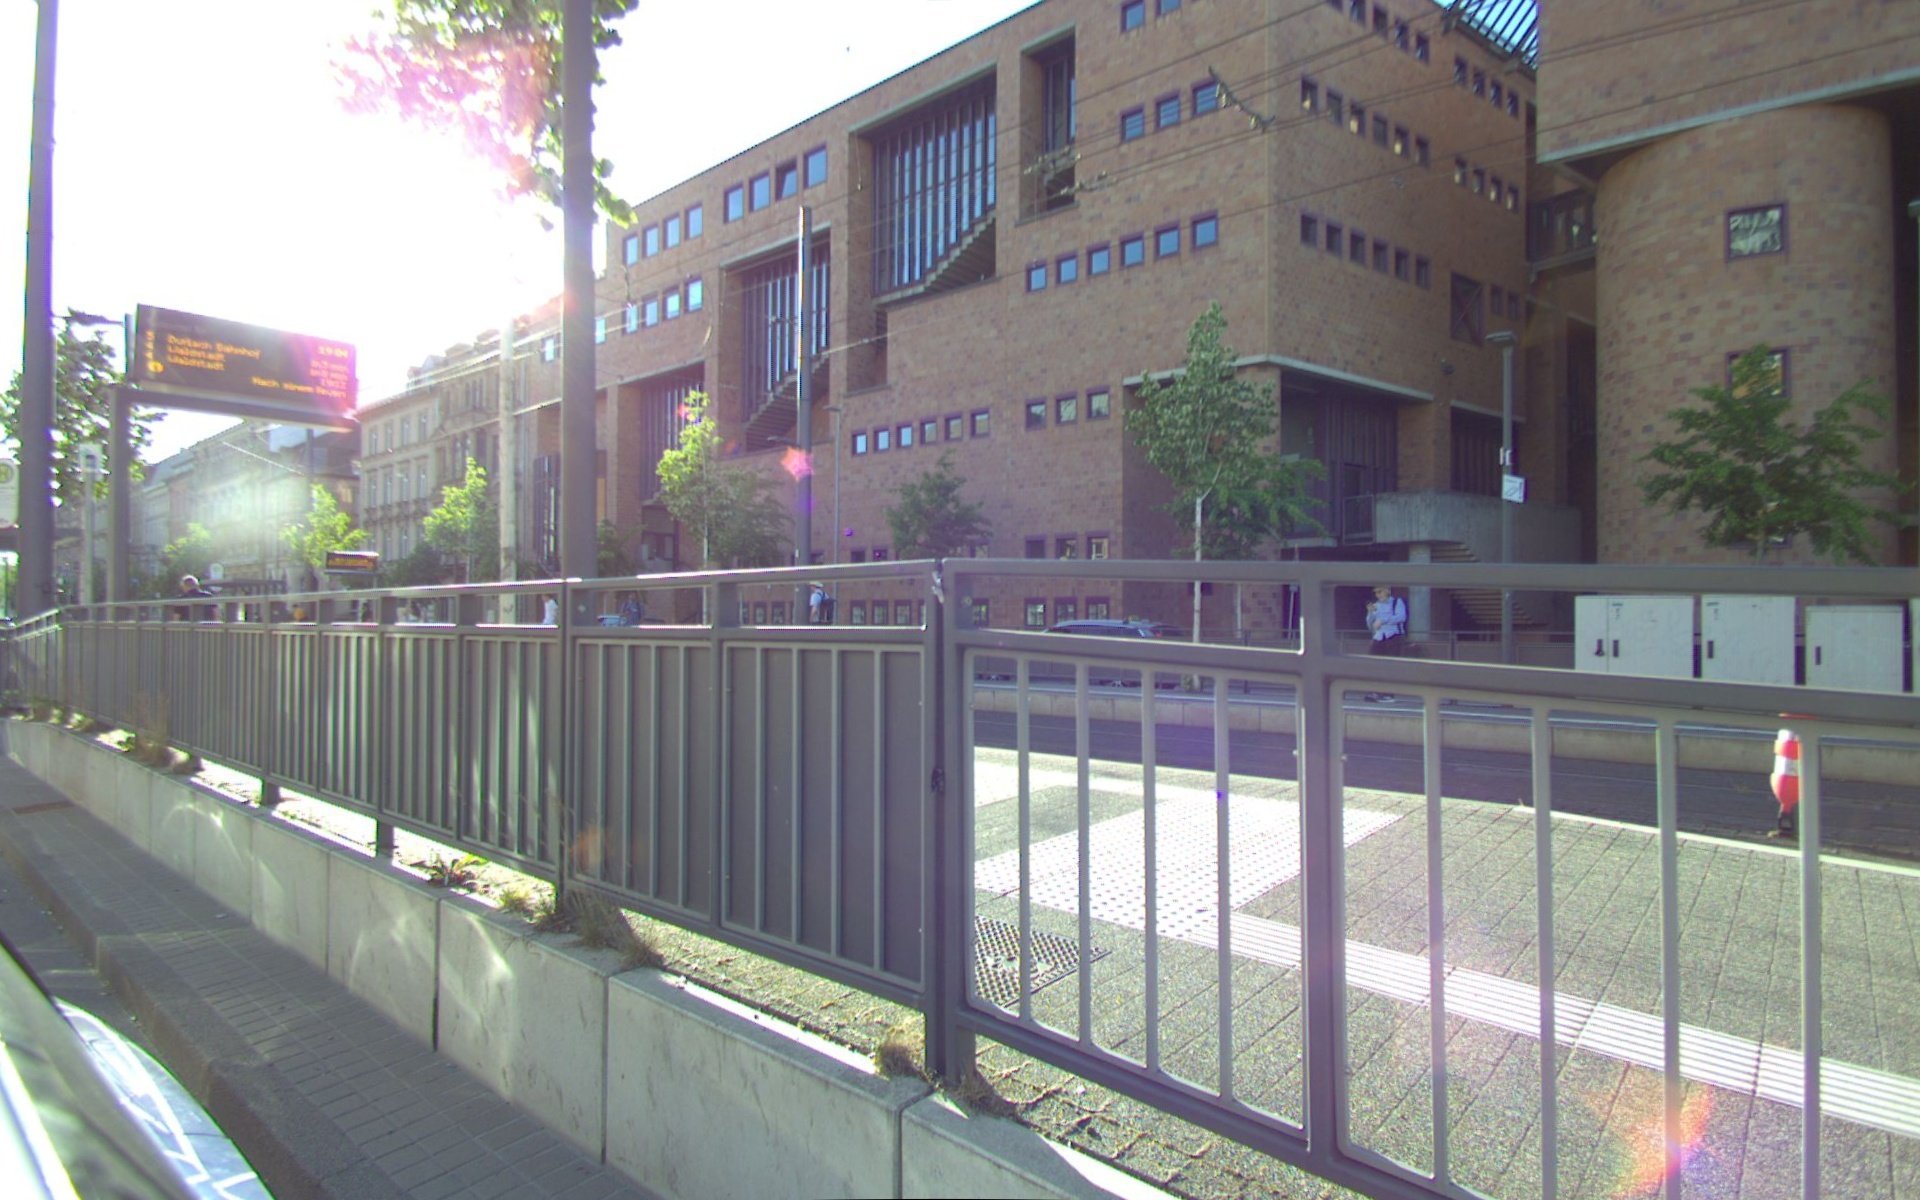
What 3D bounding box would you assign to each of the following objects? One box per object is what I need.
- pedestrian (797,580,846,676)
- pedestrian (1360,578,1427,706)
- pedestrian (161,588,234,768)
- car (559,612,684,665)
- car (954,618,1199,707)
[{"bbox_3d":[-2.689,0.535,19.652,0.668,1.821,0.677,0,0,40],"label":"pedestrian"},{"bbox_3d":[5.748,0.536,13.417,0.684,1.647,0.660,0,0,37],"label":"pedestrian"},{"bbox_3d":[-10.751,1.061,14.269,0.625,2.461,0.676,0,0,38],"label":"pedestrian"},{"bbox_3d":[-10.824,1.177,32.261,4.237,1.580,1.807,0,-2,39],"label":"car"},{"bbox_3d":[2.277,1.182,20.464,4.687,1.580,1.808,0,-2,38],"label":"car"}]
